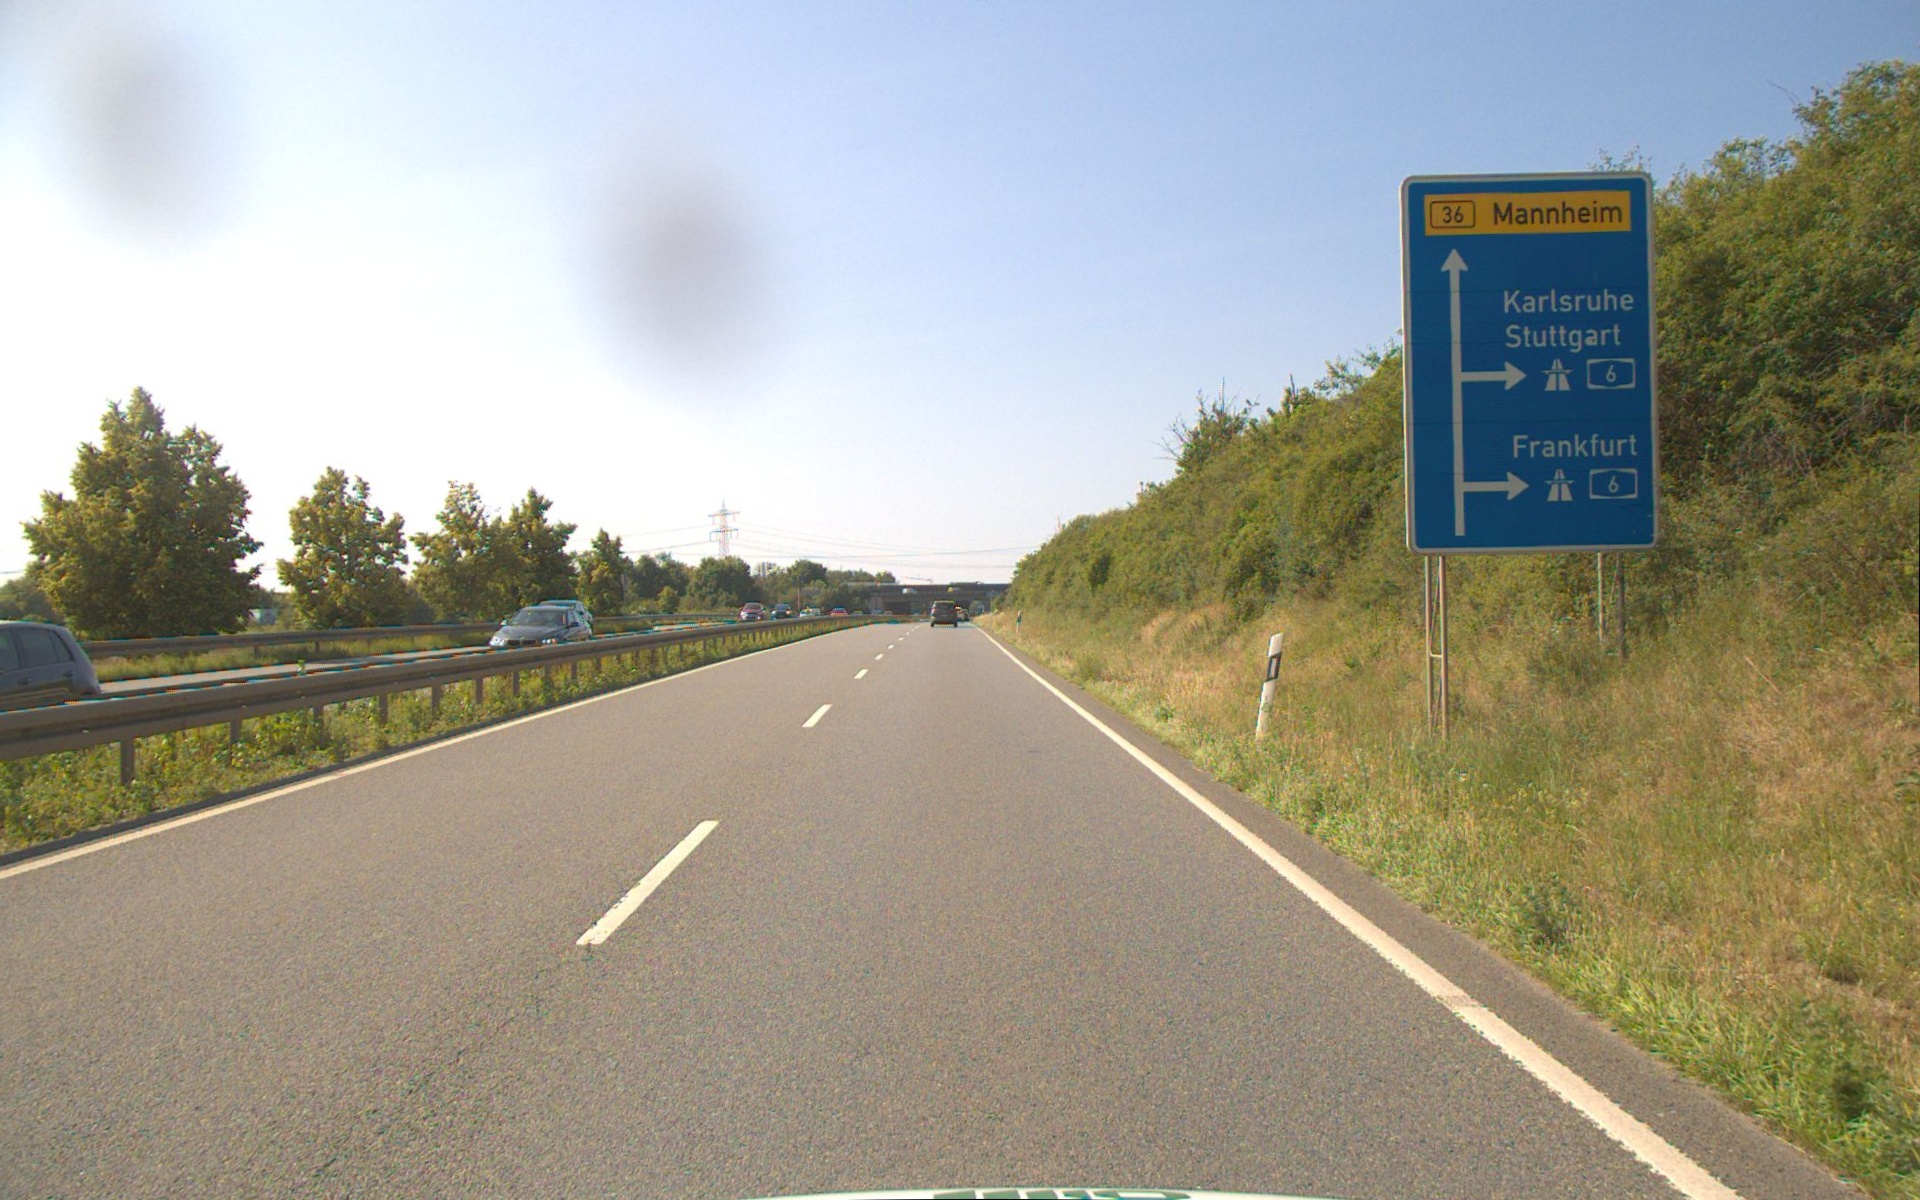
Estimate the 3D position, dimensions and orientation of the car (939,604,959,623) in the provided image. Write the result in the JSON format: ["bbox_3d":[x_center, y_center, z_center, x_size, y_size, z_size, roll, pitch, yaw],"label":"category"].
[{"bbox_3d":[-1.038,1.297,156.504,1.759,1.694,4.001,2,0,2],"label":"car"}]

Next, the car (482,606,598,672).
[{"bbox_3d":[-10.587,0.939,42.033,1.775,1.569,4.453,-1,0,0],"label":"car"}]

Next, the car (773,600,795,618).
[{"bbox_3d":[-16.381,0.852,154.049,1.691,1.623,4.220,0,0,-1],"label":"car"}]

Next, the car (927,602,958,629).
[{"bbox_3d":[-1.136,0.995,106.832,1.811,1.673,4.001,0,-1,2],"label":"car"}]

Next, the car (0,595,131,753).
[{"bbox_3d":[-10.260,0.719,16.656,1.802,1.471,4.037,2,1,-1],"label":"car"}]

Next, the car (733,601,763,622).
[{"bbox_3d":[-16.687,0.882,130.357,1.806,1.621,4.773,1,0,0],"label":"car"}]
